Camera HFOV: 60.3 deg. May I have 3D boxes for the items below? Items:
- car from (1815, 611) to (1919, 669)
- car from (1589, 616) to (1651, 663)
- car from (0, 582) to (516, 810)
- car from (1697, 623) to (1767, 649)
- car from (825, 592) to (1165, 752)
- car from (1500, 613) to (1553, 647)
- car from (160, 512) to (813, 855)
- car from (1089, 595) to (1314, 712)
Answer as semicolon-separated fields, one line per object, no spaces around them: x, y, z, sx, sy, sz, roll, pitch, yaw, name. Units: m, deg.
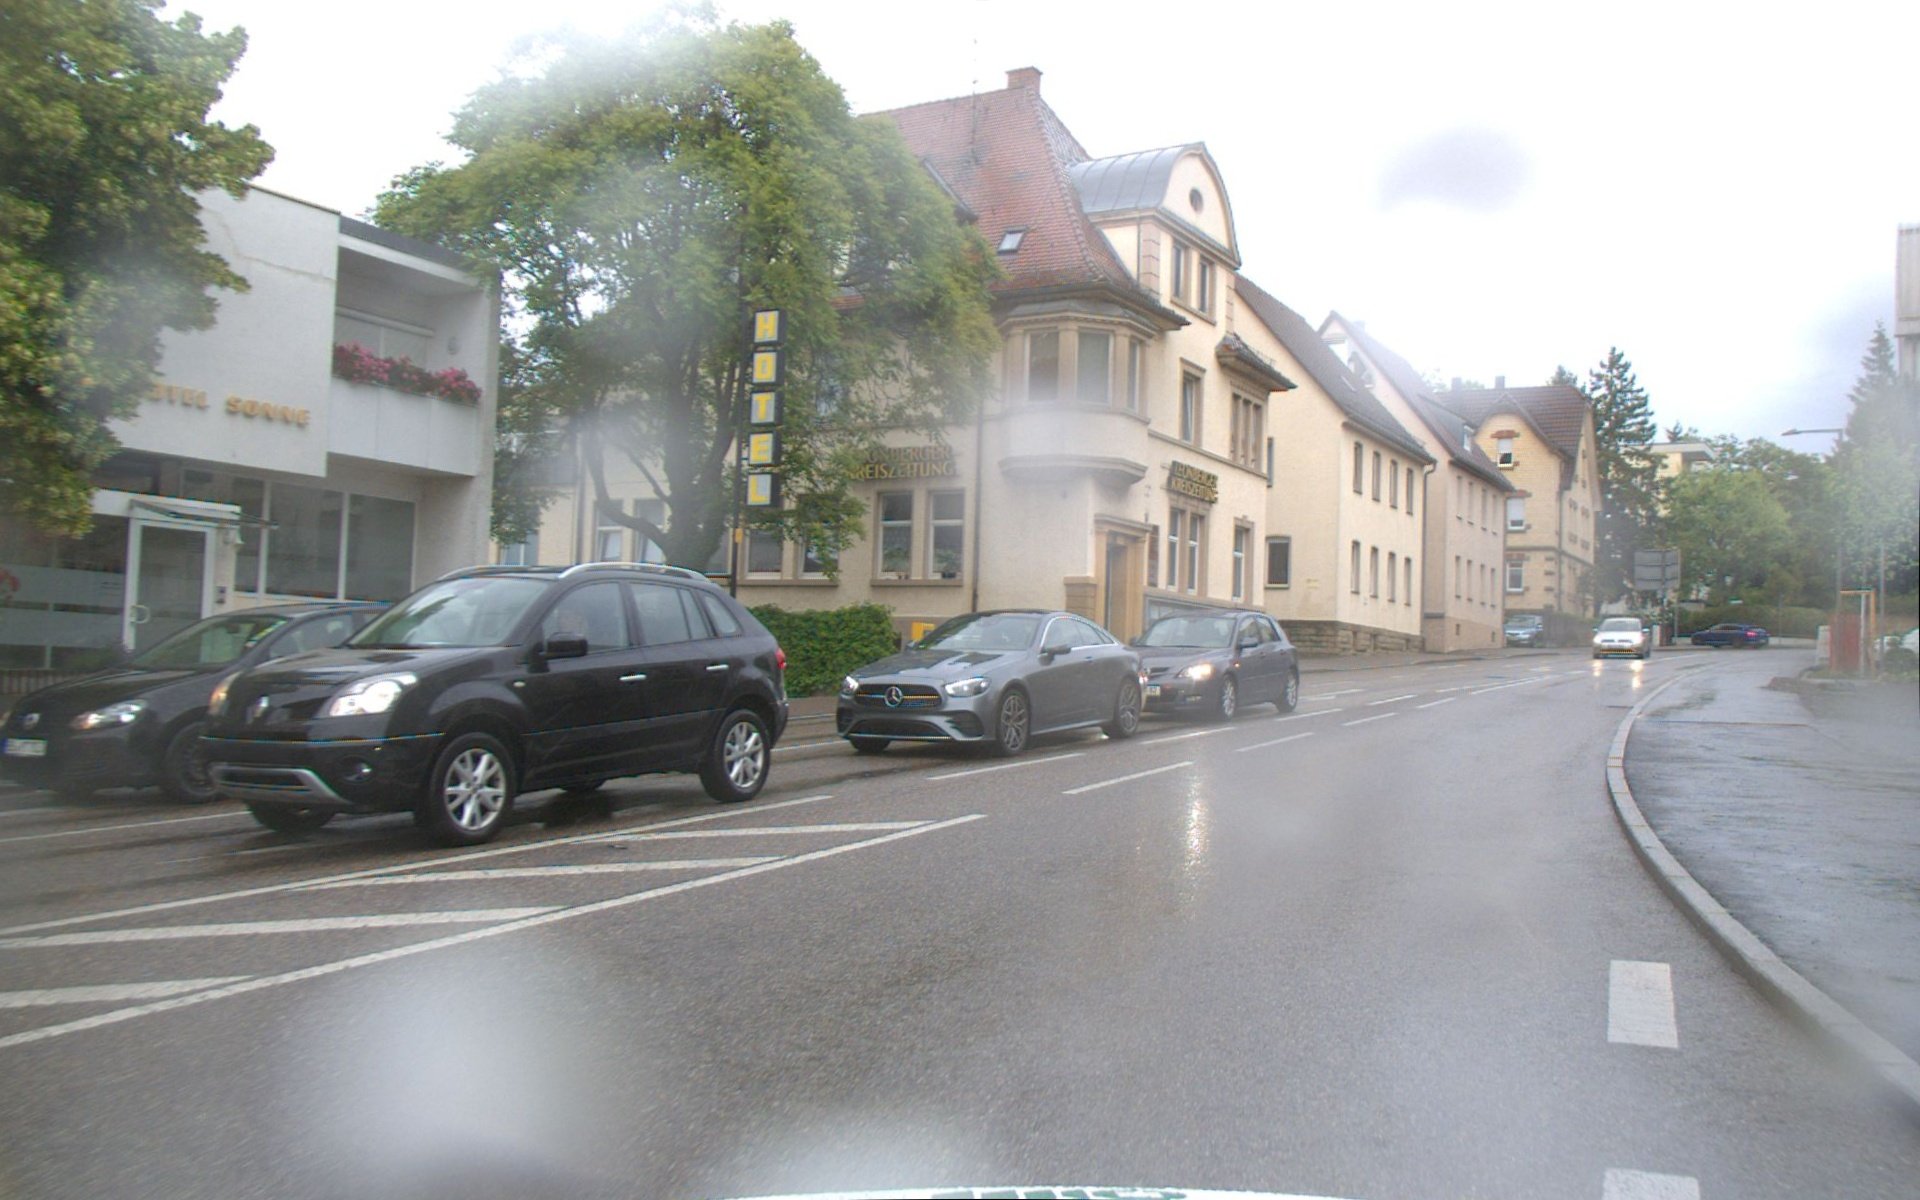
23.120;1.013;41.160;3.163;1.311;1.692;3;0;31;car
24.289;1.433;60.822;1.598;1.626;3.225;2;0;30;car
-5.750;0.692;13.440;1.739;1.545;4.178;-1;-1;29;car
45.343;2.095;97.164;3.618;1.311;1.694;3;0;28;car
0.533;0.711;17.719;1.739;1.477;4.531;-1;-1;29;car
26.362;1.399;76.906;1.660;1.479;3.224;2;0;31;car
-2.928;0.495;11.236;1.739;1.847;4.308;-1;-1;29;car
3.461;0.715;23.059;1.739;1.477;4.178;-1;-1;29;car
